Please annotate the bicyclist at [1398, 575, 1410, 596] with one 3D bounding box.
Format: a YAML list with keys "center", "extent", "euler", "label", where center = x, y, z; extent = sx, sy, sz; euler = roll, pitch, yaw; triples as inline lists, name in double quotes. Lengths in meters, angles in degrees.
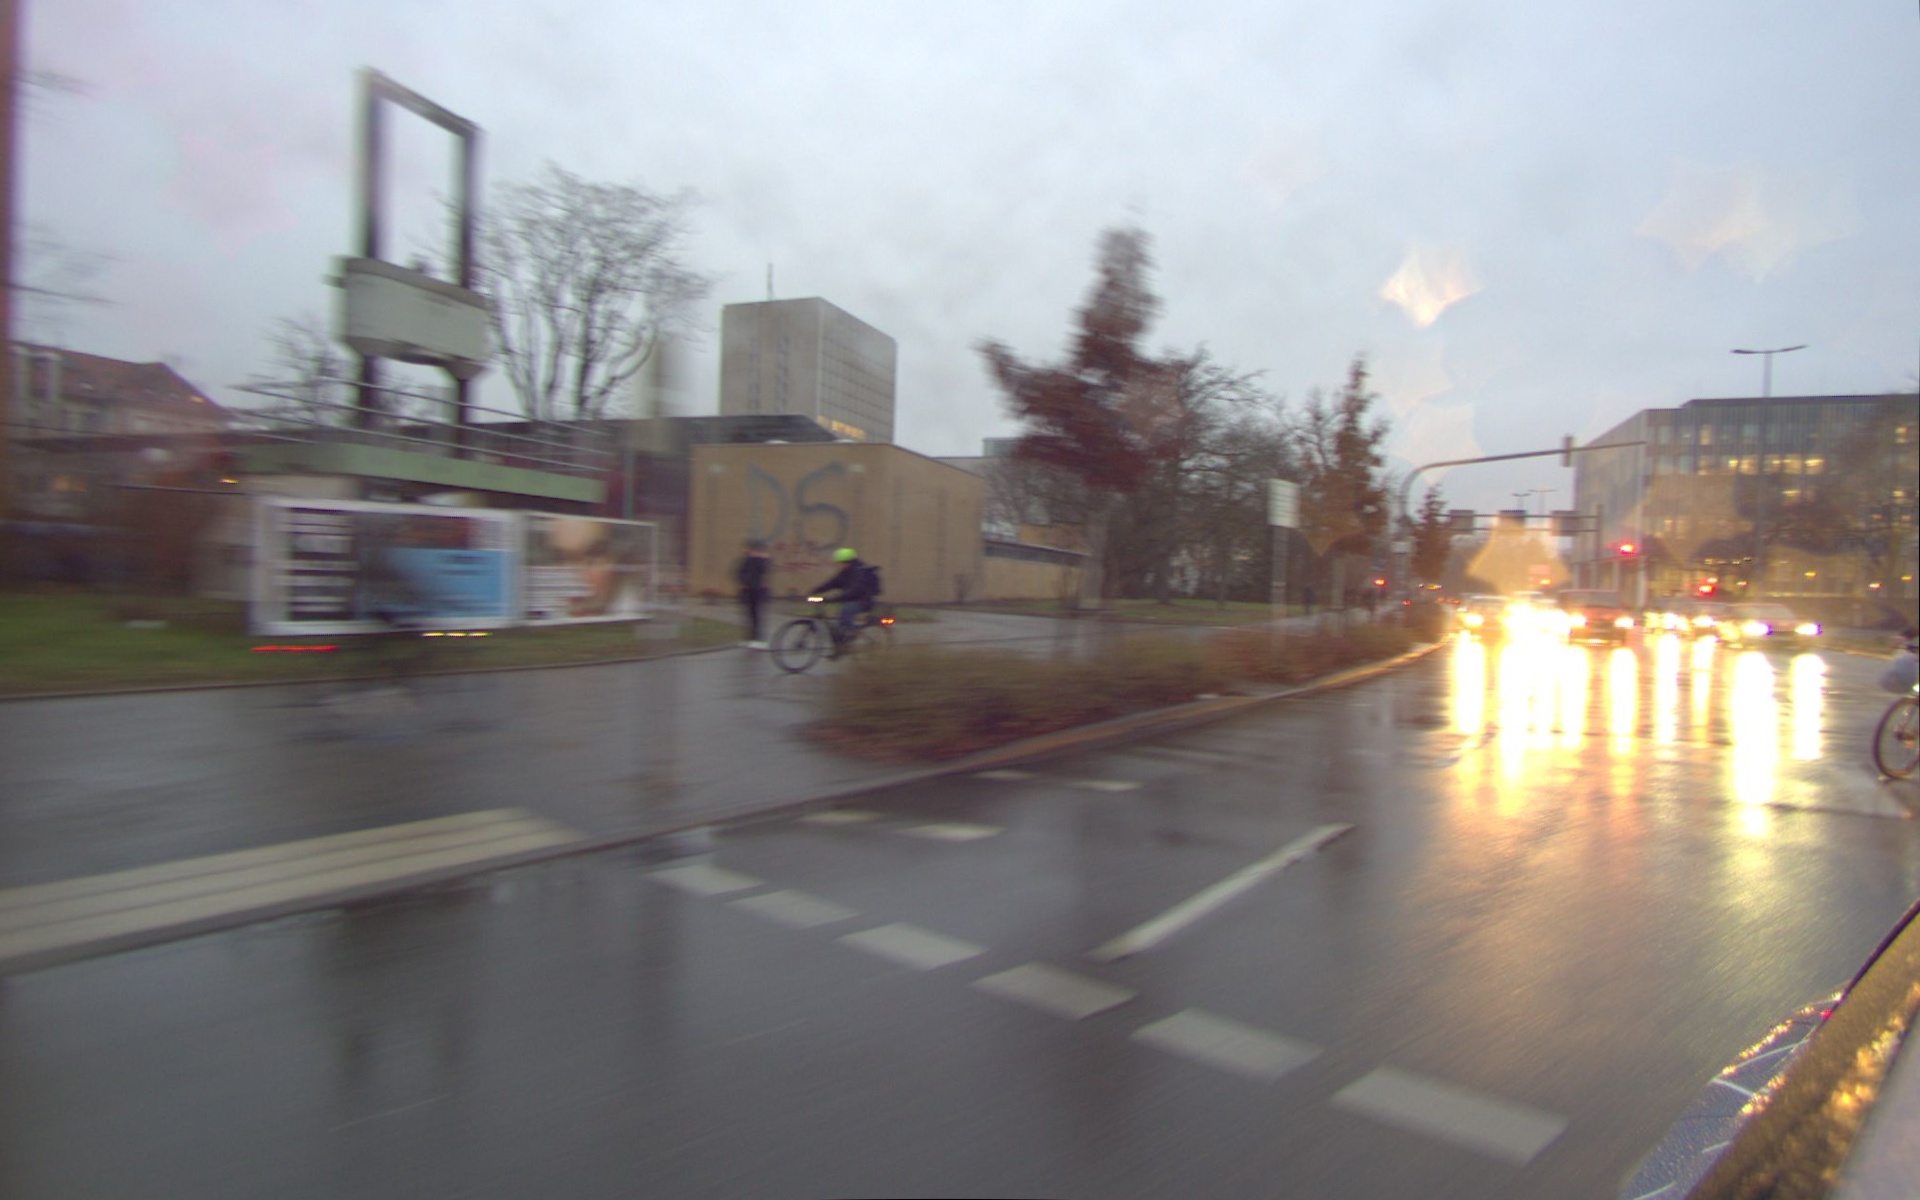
- center: [33.363, -1.093, 76.038]
  extent: [0.760, 1.508, 0.985]
  euler: [3, 2, 26]
  label: "bicyclist"

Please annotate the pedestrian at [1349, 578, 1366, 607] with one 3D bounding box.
- center: [26.763, -0.511, 68.148]
  extent: [0.924, 1.848, 0.827]
  euler: [3, 2, 26]
  label: "pedestrian"

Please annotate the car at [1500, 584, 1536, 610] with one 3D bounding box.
- center: [40.433, -0.251, 73.435]
  extent: [1.980, 1.720, 4.487]
  euler: [3, 2, 25]
  label: "car"

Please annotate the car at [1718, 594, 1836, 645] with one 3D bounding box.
- center: [26.369, 0.568, 32.853]
  extent: [1.912, 1.393, 4.459]
  euler: [3, 2, 25]
  label: "car"

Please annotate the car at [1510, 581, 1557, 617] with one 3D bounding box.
- center: [33.093, -0.103, 58.489]
  extent: [1.980, 1.947, 4.230]
  euler: [3, 2, 26]
  label: "car"

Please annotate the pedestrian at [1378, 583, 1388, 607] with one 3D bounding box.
- center: [37.142, -0.455, 88.813]
  extent: [0.758, 2.038, 0.766]
  euler: [2, 2, 25]
  label: "pedestrian"

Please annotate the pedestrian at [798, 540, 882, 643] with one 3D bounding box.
- center: [-1.633, -0.121, 13.675]
  extent: [0.831, 1.333, 0.879]
  euler: [1, 2, -29]
  label: "pedestrian"

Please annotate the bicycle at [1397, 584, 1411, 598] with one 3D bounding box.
- center: [33.339, -0.682, 76.014]
  extent: [0.787, 1.028, 2.877]
  euler: [3, 2, 26]
  label: "bicycle"

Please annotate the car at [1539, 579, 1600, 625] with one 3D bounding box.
- center: [27.375, 0.059, 45.544]
  extent: [1.981, 1.927, 3.963]
  euler: [3, 2, 27]
  label: "car"

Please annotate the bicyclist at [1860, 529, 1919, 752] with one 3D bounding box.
- center: [8.797, 0.351, 8.691]
  extent: [1.210, 1.907, 1.029]
  euler: [1, 0, -8]
  label: "bicyclist"

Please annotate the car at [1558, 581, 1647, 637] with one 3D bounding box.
- center: [22.595, 0.242, 35.765]
  extent: [1.980, 1.771, 4.903]
  euler: [3, 2, 25]
  label: "car"

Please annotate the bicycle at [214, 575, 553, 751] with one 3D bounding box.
- center: [-4.517, 0.436, 8.092]
  extent: [0.803, 1.155, 2.182]
  euler: [7, 4, 39]
  label: "bicycle"

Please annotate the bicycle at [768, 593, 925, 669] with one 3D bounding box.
- center: [-1.528, 0.409, 13.788]
  extent: [2.053, 0.958, 0.564]
  euler: [1, 2, -31]
  label: "bicycle"

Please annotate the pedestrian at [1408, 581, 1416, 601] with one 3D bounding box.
- center: [43.294, -0.868, 96.935]
  extent: [0.618, 1.822, 0.928]
  euler: [2, 1, 28]
  label: "pedestrian"

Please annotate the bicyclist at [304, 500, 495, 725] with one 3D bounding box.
- center: [-4.488, 0.070, 8.118]
  extent: [0.803, 1.637, 1.070]
  euler: [6, 4, 40]
  label: "bicyclist"

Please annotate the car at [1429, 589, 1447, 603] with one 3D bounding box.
- center: [65.620, -0.579, 139.104]
  extent: [2.121, 1.838, 3.966]
  euler: [3, 2, 25]
  label: "car"

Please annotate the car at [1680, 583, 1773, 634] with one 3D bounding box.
- center: [30.194, 0.259, 40.019]
  extent: [1.980, 1.771, 4.432]
  euler: [4, 3, 25]
  label: "car"

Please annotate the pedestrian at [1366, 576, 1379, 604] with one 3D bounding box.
- center: [30.086, -0.720, 73.746]
  extent: [0.758, 2.038, 0.903]
  euler: [2, 2, 25]
  label: "pedestrian"

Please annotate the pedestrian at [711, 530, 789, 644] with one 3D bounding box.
- center: [-3.330, -0.204, 16.143]
  extent: [0.896, 1.708, 0.926]
  euler: [4, 1, 4]
  label: "pedestrian"

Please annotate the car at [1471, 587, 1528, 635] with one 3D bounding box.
- center: [22.897, 0.438, 43.044]
  extent: [1.981, 1.860, 3.962]
  euler: [3, 2, 27]
  label: "car"

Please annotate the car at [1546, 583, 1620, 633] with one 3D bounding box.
- center: [24.942, 0.262, 40.683]
  extent: [1.980, 1.771, 4.432]
  euler: [3, 2, 25]
  label: "car"

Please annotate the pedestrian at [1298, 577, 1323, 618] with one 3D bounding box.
- center: [16.413, -0.141, 47.407]
  extent: [0.924, 1.848, 0.827]
  euler: [3, 2, 26]
  label: "pedestrian"

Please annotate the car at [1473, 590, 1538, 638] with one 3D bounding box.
- center: [19.684, 0.461, 36.669]
  extent: [1.757, 1.505, 4.432]
  euler: [3, 2, 25]
  label: "car"

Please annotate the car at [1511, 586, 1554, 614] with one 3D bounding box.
- center: [36.223, -0.027, 64.142]
  extent: [1.980, 1.586, 4.720]
  euler: [4, 3, 25]
  label: "car"

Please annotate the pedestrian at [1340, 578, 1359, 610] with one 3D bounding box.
- center: [23.265, -0.368, 60.459]
  extent: [0.924, 1.848, 0.827]
  euler: [3, 2, 26]
  label: "pedestrian"

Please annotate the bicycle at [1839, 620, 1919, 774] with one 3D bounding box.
- center: [8.755, 0.810, 8.675]
  extent: [1.865, 1.238, 0.796]
  euler: [1, 0, -8]
  label: "bicycle"

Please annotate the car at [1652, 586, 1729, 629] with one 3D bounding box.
- center: [32.675, 0.284, 45.417]
  extent: [1.980, 1.771, 4.432]
  euler: [2, 2, 26]
  label: "car"
